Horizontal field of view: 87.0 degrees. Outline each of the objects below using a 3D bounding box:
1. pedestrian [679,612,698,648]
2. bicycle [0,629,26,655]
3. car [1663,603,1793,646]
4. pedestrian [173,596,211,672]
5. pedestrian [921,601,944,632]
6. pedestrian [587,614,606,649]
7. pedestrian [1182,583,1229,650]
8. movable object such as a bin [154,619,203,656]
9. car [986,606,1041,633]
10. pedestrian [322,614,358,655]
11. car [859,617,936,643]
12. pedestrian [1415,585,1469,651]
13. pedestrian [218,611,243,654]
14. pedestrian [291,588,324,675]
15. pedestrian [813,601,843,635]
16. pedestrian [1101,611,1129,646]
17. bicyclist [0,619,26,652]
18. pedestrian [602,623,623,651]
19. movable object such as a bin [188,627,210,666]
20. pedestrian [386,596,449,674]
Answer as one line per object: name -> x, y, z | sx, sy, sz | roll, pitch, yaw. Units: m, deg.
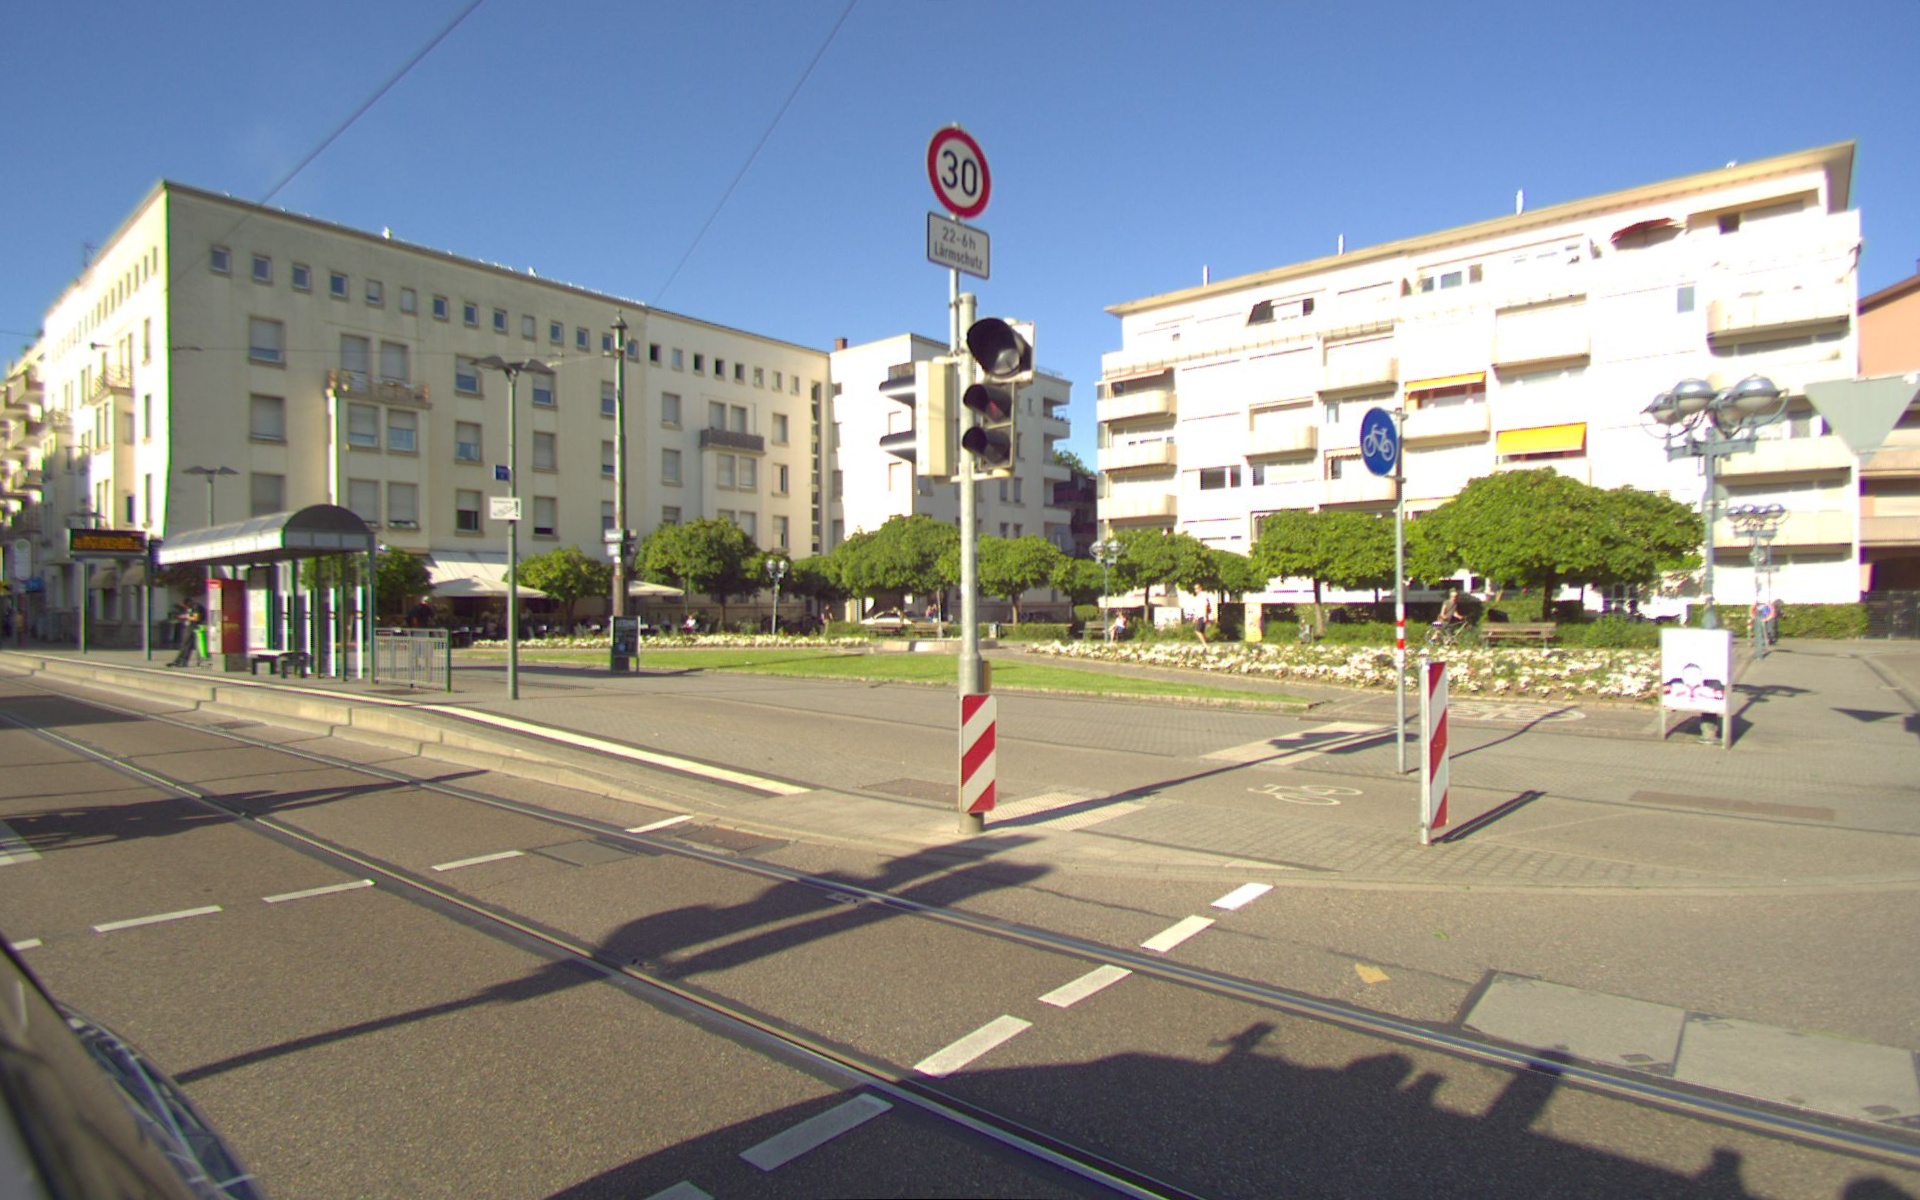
pedestrian -> -13.347, 1.486, 49.802 | 0.710, 1.750, 0.673 | -2, -4, 1
bicycle -> -44.064, 1.936, 47.088 | 1.976, 1.121, 0.720 | -1, 0, 42
car -> 25.534, 0.809, 33.685 | 3.310, 1.364, 1.627 | -1, -1, 42
pedestrian -> -17.868, 0.784, 23.545 | 0.607, 1.731, 0.542 | -1, -3, 43
pedestrian -> -1.833, 1.089, 67.188 | 1.090, 2.029, 1.079 | -1, -1, 39
pedestrian -> -18.769, 1.634, 52.283 | 0.677, 1.750, 0.671 | -3, -4, 13
pedestrian -> 6.913, 0.461, 28.533 | 0.932, 1.831, 0.871 | 0, -1, -38
movable object such as a bin -> -30.859, 1.465, 39.978 | 1.127, 1.410, 1.302 | -1, -1, 39
car -> 3.077, 1.131, 58.362 | 2.931, 1.497, 1.399 | -1, -1, 40
pedestrian -> -25.654, 1.417, 41.878 | 0.755, 1.657, 1.054 | -5, -4, 35
car -> -3.274, 1.557, 52.714 | 3.712, 1.310, 1.973 | -1, -1, 40
pedestrian -> 15.164, 0.560, 31.833 | 1.232, 2.029, 1.207 | -1, -1, 40
pedestrian -> -29.170, 1.299, 40.484 | 0.662, 1.657, 0.753 | -1, -4, -23
pedestrian -> -14.207, 0.690, 22.033 | 0.526, 1.873, 0.423 | -2, -4, 43
pedestrian -> -7.041, 0.969, 53.833 | 1.079, 1.801, 1.163 | -1, -1, 35
pedestrian -> 6.057, 1.110, 39.583 | 0.678, 1.370, 1.039 | -1, -1, 35
bicyclist -> -44.141, 1.643, 47.154 | 0.877, 1.466, 0.819 | -1, 0, 42
pedestrian -> -16.633, 1.776, 48.433 | 0.672, 1.280, 0.636 | -5, -4, 35
movable object such as a bin -> -17.222, 1.046, 22.904 | 0.416, 0.866, 0.332 | -1, -1, 43
pedestrian -> -12.194, 0.772, 22.758 | 0.974, 1.693, 0.982 | -1, -1, 42
